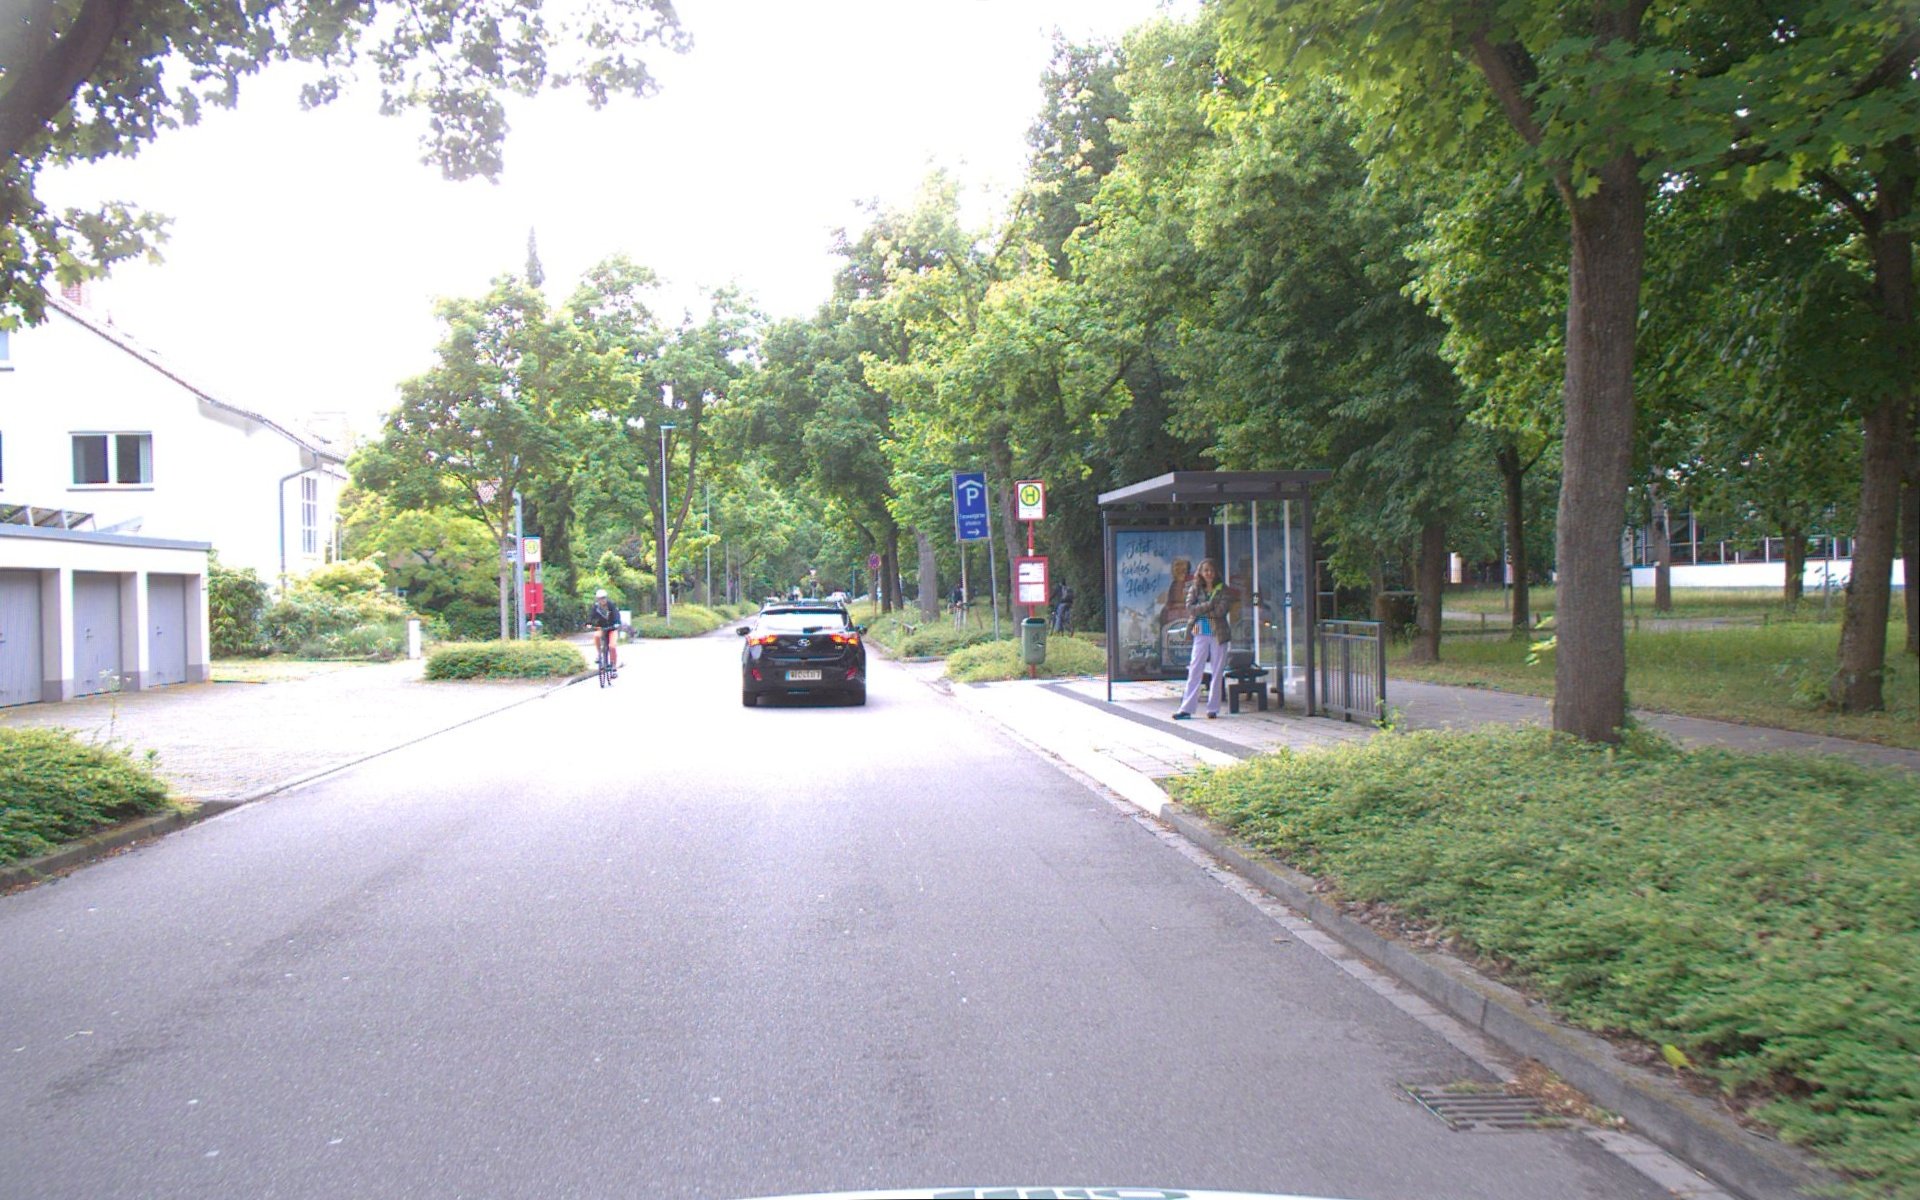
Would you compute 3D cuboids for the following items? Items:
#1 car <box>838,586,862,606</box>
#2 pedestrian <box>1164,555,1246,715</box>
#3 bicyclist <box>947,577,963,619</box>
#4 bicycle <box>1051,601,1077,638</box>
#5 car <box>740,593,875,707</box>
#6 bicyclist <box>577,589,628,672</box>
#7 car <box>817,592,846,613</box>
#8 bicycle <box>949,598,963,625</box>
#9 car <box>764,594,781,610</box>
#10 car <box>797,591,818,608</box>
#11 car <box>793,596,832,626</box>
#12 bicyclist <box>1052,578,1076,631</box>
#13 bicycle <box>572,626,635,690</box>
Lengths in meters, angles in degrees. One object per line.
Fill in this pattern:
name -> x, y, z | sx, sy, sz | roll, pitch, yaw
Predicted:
car -> -12.138, -0.455, 182.207 | 1.959, 2.048, 3.988 | -2, 1, -12
pedestrian -> 2.550, 0.352, 17.261 | 0.641, 1.611, 0.697 | -2, 0, -6
bicyclist -> -0.184, -0.083, 64.425 | 0.523, 1.576, 0.758 | -2, 0, 1
bicycle -> 2.910, 0.540, 46.497 | 0.595, 0.992, 1.944 | -2, 0, 1
car -> -2.290, 0.663, 24.439 | 1.811, 1.488, 3.822 | -1, 1, -7
bicyclist -> -6.653, 0.562, 30.837 | 0.769, 1.495, 0.936 | -2, 0, -6
car -> -9.475, 0.171, 121.910 | 1.863, 1.512, 3.993 | -1, 0, -8
bicycle -> -0.160, 0.425, 64.400 | 0.481, 0.992, 1.944 | -2, 0, 1
car -> -18.199, 0.208, 160.315 | 1.533, 1.462, 4.207 | -2, 0, -8
car -> -14.333, -0.068, 155.442 | 1.955, 1.512, 3.995 | -2, 0, -6
car -> -7.938, 0.554, 88.742 | 1.830, 1.488, 4.109 | -2, 0, -9
bicyclist -> 2.912, 0.120, 46.489 | 0.584, 1.434, 0.758 | -2, 0, 1
bicycle -> -6.577, 1.054, 30.611 | 0.779, 1.043, 2.561 | -2, 1, -5
